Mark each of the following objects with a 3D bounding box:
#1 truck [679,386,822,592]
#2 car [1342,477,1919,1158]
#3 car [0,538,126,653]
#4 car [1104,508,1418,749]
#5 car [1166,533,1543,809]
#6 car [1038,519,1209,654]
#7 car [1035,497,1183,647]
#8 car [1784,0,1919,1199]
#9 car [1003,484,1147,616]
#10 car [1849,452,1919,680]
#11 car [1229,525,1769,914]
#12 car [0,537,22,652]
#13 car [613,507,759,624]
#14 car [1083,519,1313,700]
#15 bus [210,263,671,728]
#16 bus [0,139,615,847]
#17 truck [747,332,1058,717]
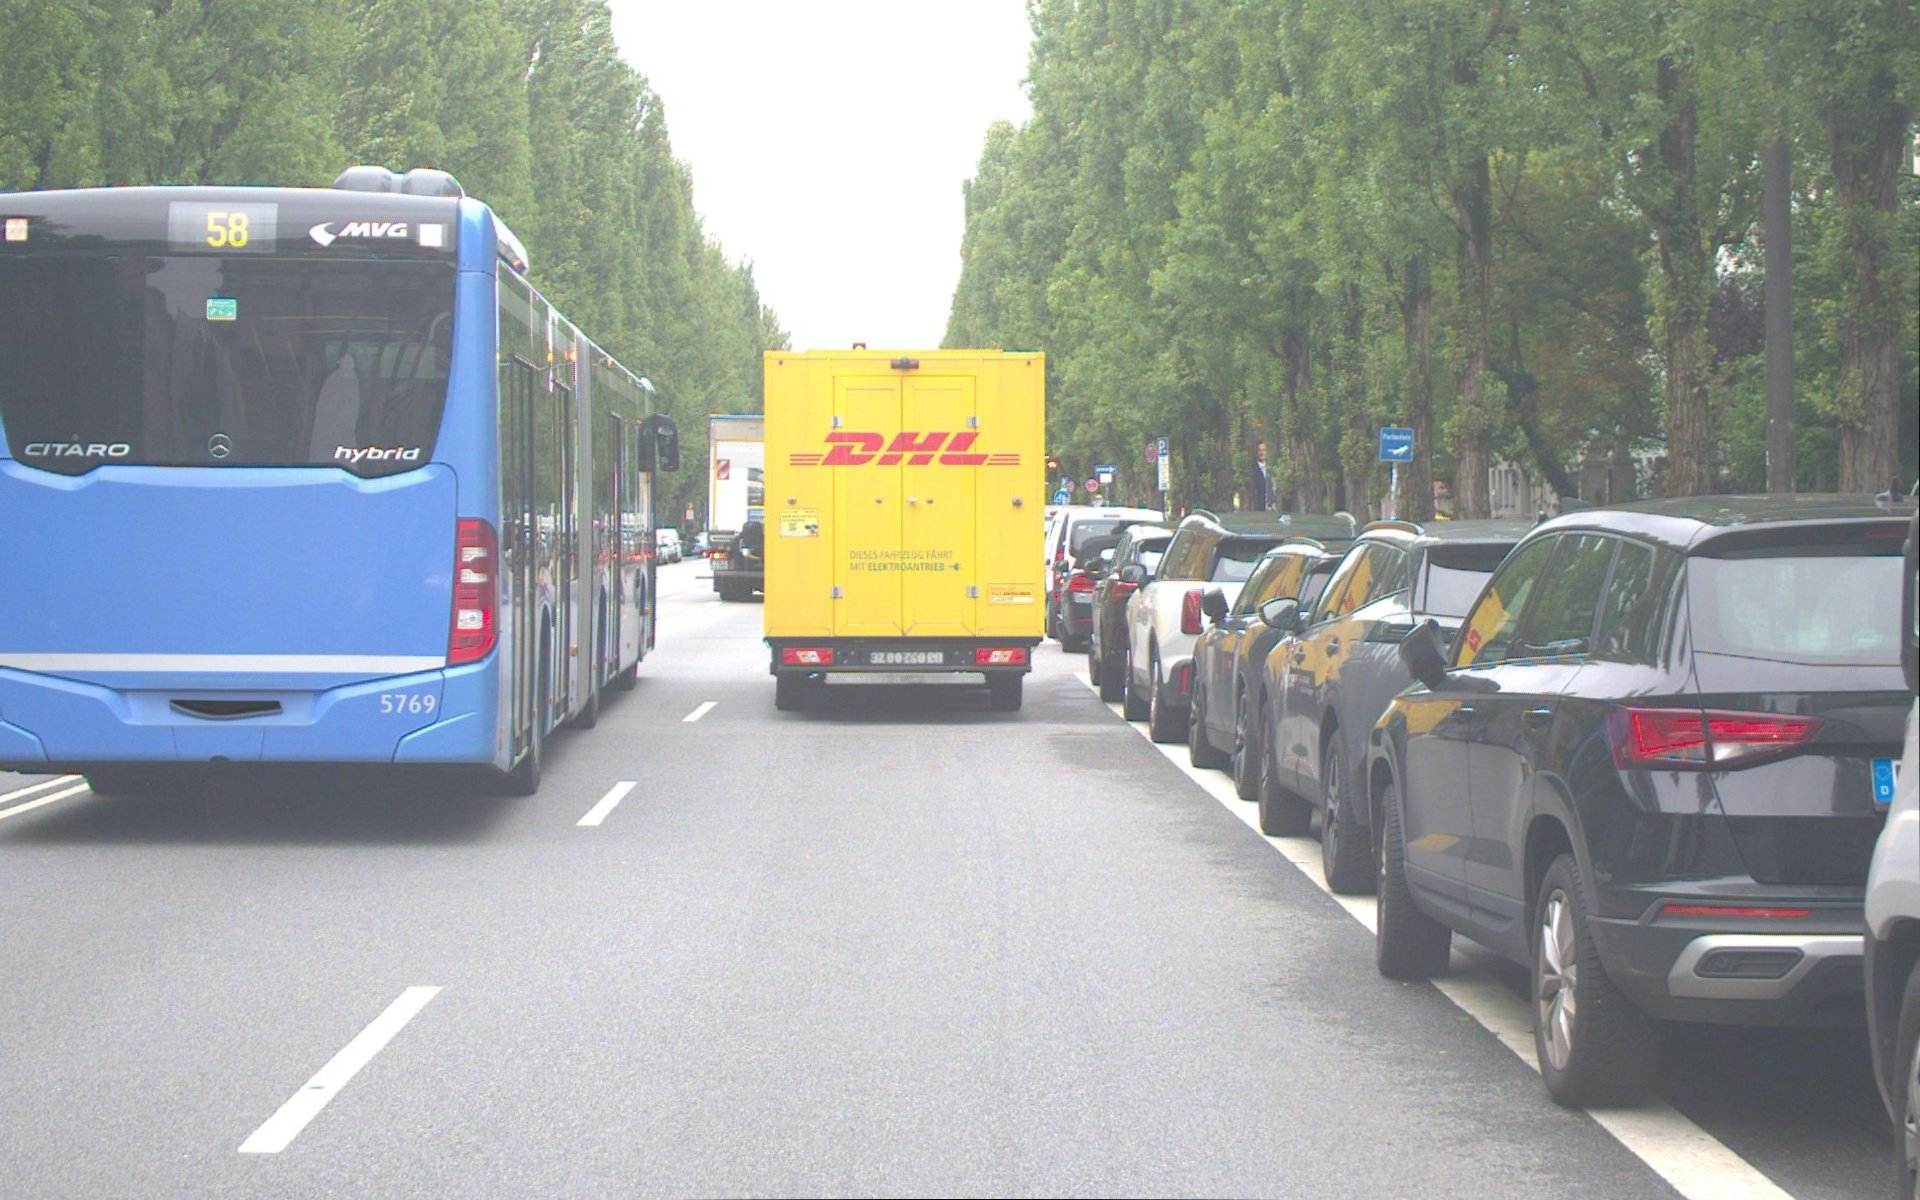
[{"bbox_3d":[-4.315,-2.256,71.166,2.715,3.951,9.219,-1,1,-3],"label":"truck"},{"bbox_3d":[2.331,0.464,10.130,1.821,1.585,4.223,0,1,-2],"label":"car"},{"bbox_3d":[-13.602,-0.072,50.280,1.791,1.542,4.339,-4,1,-2],"label":"car"},{"bbox_3d":[2.105,0.144,25.129,1.780,1.576,4.147,1,1,-2],"label":"car"},{"bbox_3d":[2.255,0.344,20.634,1.633,1.441,4.149,2,1,-2],"label":"car"},{"bbox_3d":[1.937,-0.199,41.853,1.863,1.546,4.000,0,1,0],"label":"car"},{"bbox_3d":[2.007,-0.419,47.366,1.806,1.969,4.237,0,1,-1],"label":"car"},{"bbox_3d":[2.820,0.090,3.936,2.074,2.470,6.284,0,1,-1],"label":"car"},{"bbox_3d":[1.800,-0.845,55.658,2.052,2.006,5.693,-1,2,-1],"label":"car"},{"bbox_3d":[9.089,-0.280,28.298,1.993,1.919,5.325,0,1,-2],"label":"car"},{"bbox_3d":[2.259,0.423,15.429,1.651,1.498,4.114,1,1,-2],"label":"car"},{"bbox_3d":[-13.471,-0.027,44.796,1.742,1.513,4.119,-2,1,-6],"label":"car"},{"bbox_3d":[-4.425,-0.598,56.141,2.035,1.795,4.507,-1,2,-1],"label":"car"},{"bbox_3d":[2.054,0.032,30.735,1.725,1.490,4.324,0,1,0],"label":"car"},{"bbox_3d":[-4.109,-0.859,29.405,2.871,3.292,9.791,0,1,-3],"label":"bus"},{"bbox_3d":[-3.697,-0.595,20.107,2.855,3.202,9.061,0,1,-3],"label":"bus"},{"bbox_3d":[-0.538,-0.649,29.606,2.327,2.888,7.334,0,1,-2],"label":"truck"}]
